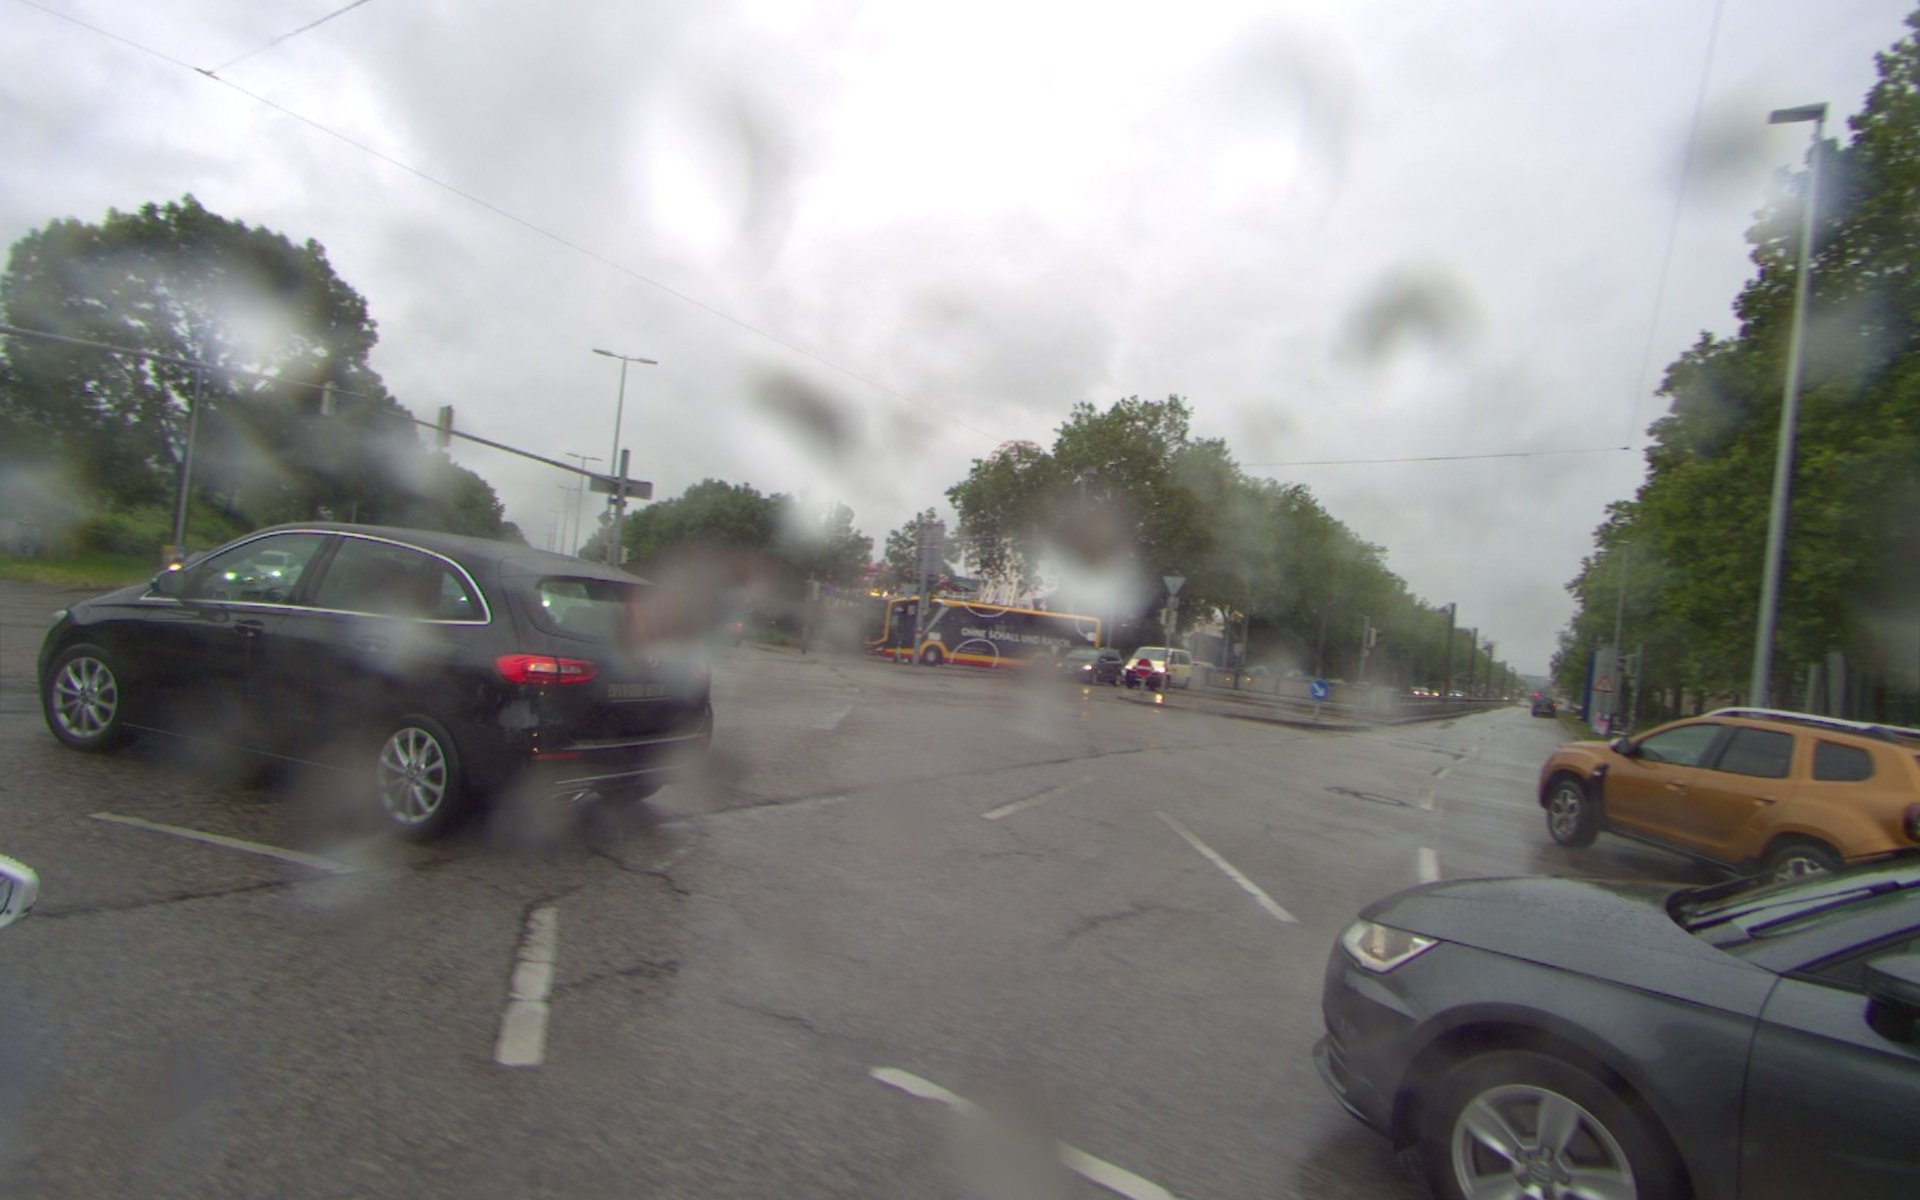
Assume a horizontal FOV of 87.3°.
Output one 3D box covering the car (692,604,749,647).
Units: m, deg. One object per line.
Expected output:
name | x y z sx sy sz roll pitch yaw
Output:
car | -10.497 1.081 43.901 1.663 1.508 3.602 8 -2 -24

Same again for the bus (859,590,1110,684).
bus | 1.355 1.889 50.198 12.136 3.307 3.255 7 -1 -25

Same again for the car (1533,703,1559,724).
car | 53.645 10.356 92.091 1.812 1.570 3.992 6 -1 32

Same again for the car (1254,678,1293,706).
car | 24.812 7.224 79.476 2.041 1.870 4.743 6 -2 27

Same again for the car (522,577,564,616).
car | -21.728 -0.231 52.344 1.586 1.741 3.975 7 -1 -26

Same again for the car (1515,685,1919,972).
car | 7.202 1.810 8.885 1.872 1.651 4.168 7 -1 -5

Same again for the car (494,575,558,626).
car | -17.895 -0.013 41.640 2.147 1.741 4.282 7 -1 -22

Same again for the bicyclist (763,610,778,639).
bicyclist | -12.773 1.660 67.893 0.759 1.904 0.619 6 0 -19

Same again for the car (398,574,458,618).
car | -20.459 -0.180 38.619 1.813 1.374 3.970 7 -1 -30

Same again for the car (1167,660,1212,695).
car | 13.600 4.546 59.470 1.856 1.775 4.001 6 -2 21

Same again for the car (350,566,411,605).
car | -24.733 -0.646 43.053 1.810 1.374 3.976 7 -1 -25

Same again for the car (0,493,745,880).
car | -3.626 0.381 6.215 4.012 1.542 1.877 6 -1 22

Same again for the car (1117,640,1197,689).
car | 9.015 2.969 45.687 2.043 1.870 4.740 6 -2 30

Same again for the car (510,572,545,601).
car | -30.113 -0.969 69.977 1.921 1.741 3.975 7 -1 -26

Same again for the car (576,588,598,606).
car | -38.868 -0.324 104.700 1.825 1.636 3.981 9 -2 -22

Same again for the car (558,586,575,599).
car | -57.000 -1.102 145.835 1.977 1.637 3.978 7 -1 -24

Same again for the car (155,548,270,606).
car | -21.786 -0.683 29.490 1.875 1.365 3.975 7 -1 -26

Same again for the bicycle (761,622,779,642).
bicycle | -12.853 2.156 67.985 0.809 1.179 2.252 6 -1 -18

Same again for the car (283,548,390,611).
car | -19.951 -0.638 32.386 2.000 1.677 4.044 7 -1 -20

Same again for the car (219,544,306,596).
car | -24.324 -1.044 35.225 1.811 1.500 3.975 7 -1 -26

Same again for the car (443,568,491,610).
car | -23.919 -0.556 48.936 1.847 1.741 3.977 7 -1 -25

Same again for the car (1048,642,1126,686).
car | 5.797 2.938 45.554 1.901 1.670 4.337 6 -2 29

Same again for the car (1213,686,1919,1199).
car | 2.790 1.213 2.430 1.832 1.414 3.707 10 -3 -44

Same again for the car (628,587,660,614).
car | -22.843 -0.003 72.660 1.618 1.674 3.466 9 -2 -24
